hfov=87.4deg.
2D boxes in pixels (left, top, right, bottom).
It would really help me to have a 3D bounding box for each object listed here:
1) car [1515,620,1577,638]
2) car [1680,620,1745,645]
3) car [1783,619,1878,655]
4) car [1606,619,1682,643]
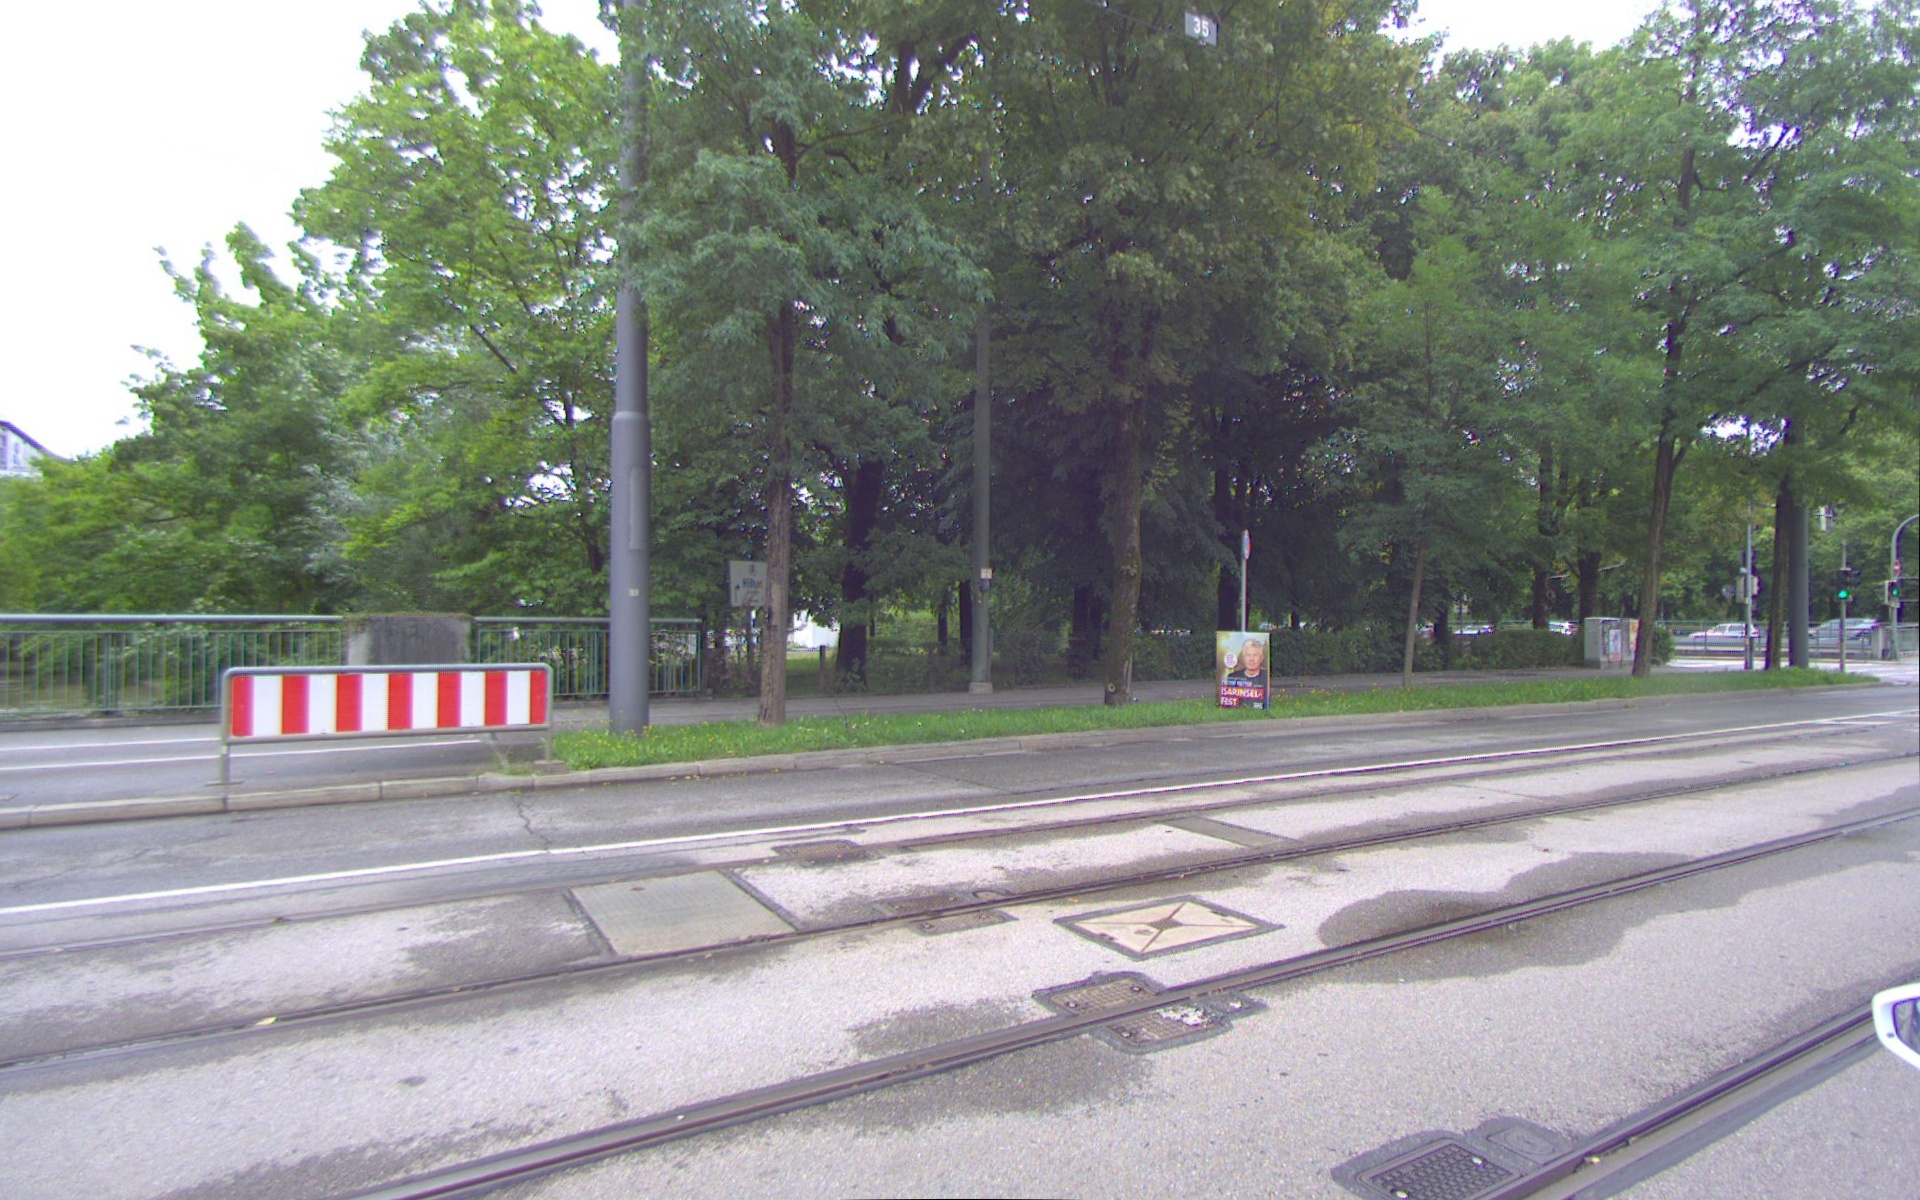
[{"bbox_3d":[42.504,2.101,72.966,1.238,1.201,3.704,1,0,-34],"label":"car"},{"bbox_3d":[48.067,2.078,64.212,1.238,1.471,3.090,1,0,-34],"label":"car"},{"bbox_3d":[51.415,2.180,59.394,1.476,1.912,3.994,1,0,-36],"label":"car"},{"bbox_3d":[45.956,2.082,67.550,1.703,1.423,3.900,1,0,-34],"label":"car"}]
